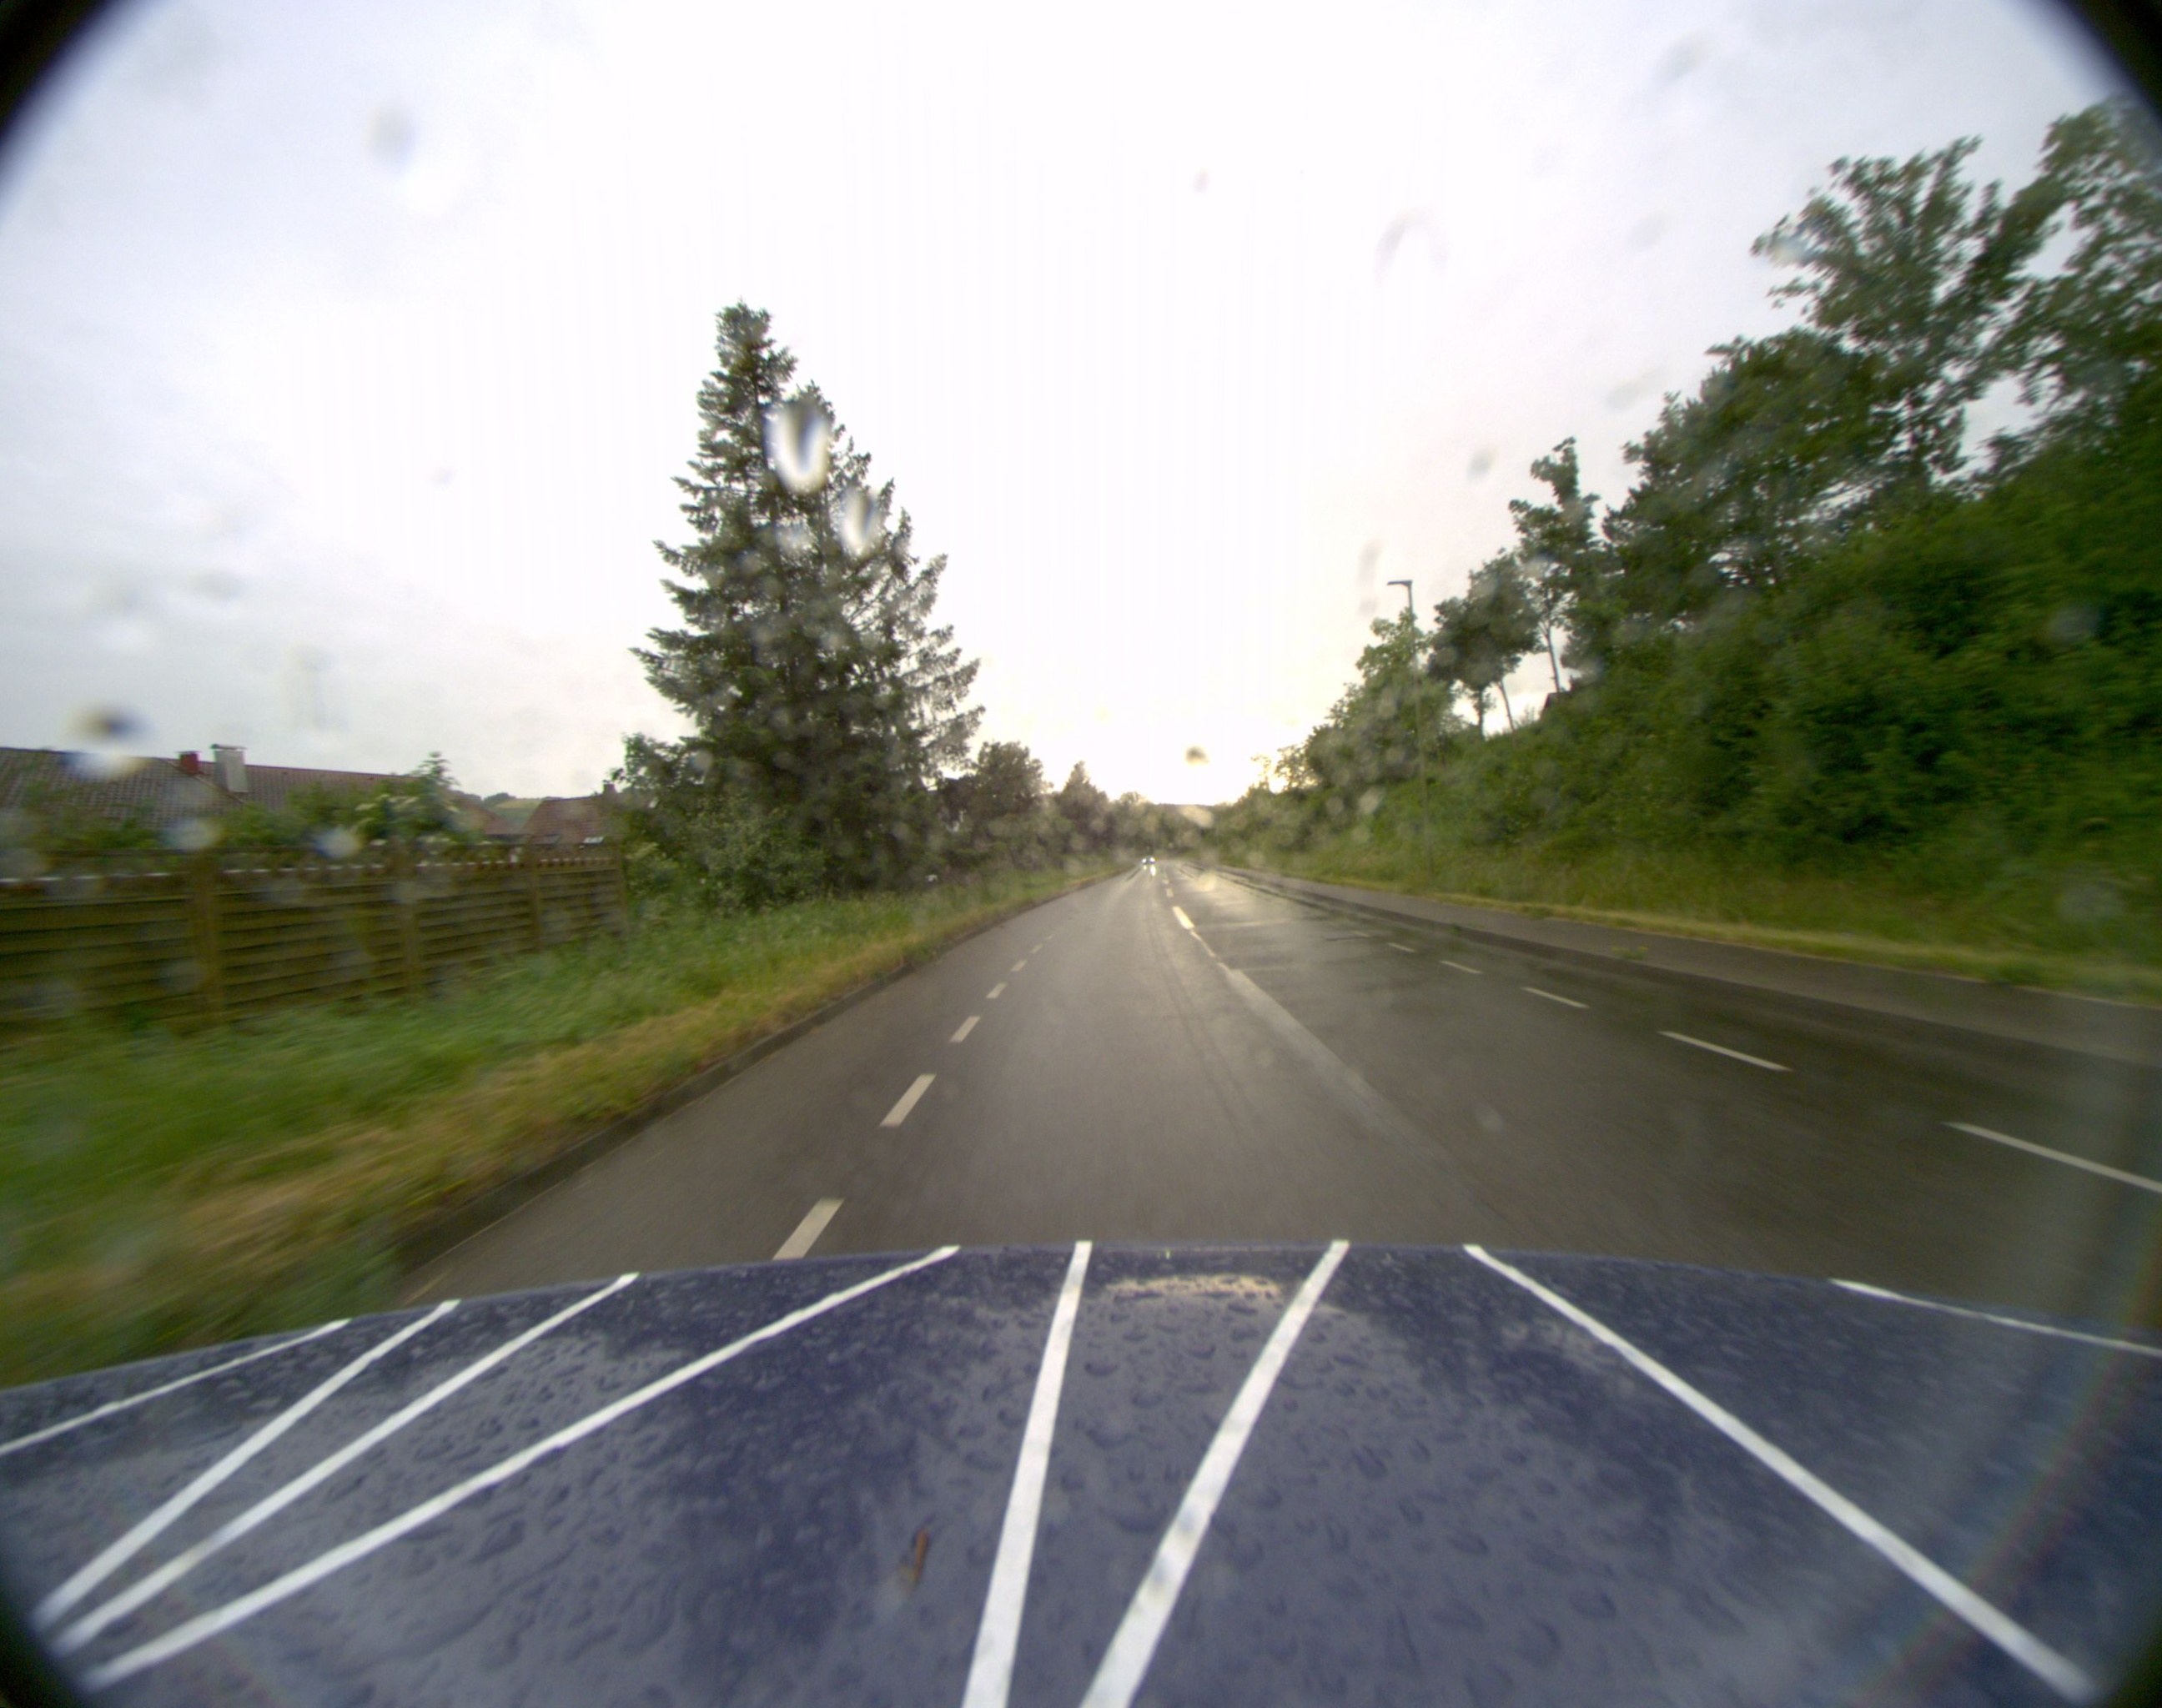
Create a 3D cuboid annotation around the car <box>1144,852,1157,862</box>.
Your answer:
[{"bbox_3d":[11.637,0.517,127.629,1.879,1.596,4.000,-2,0,1],"label":"car"}]
